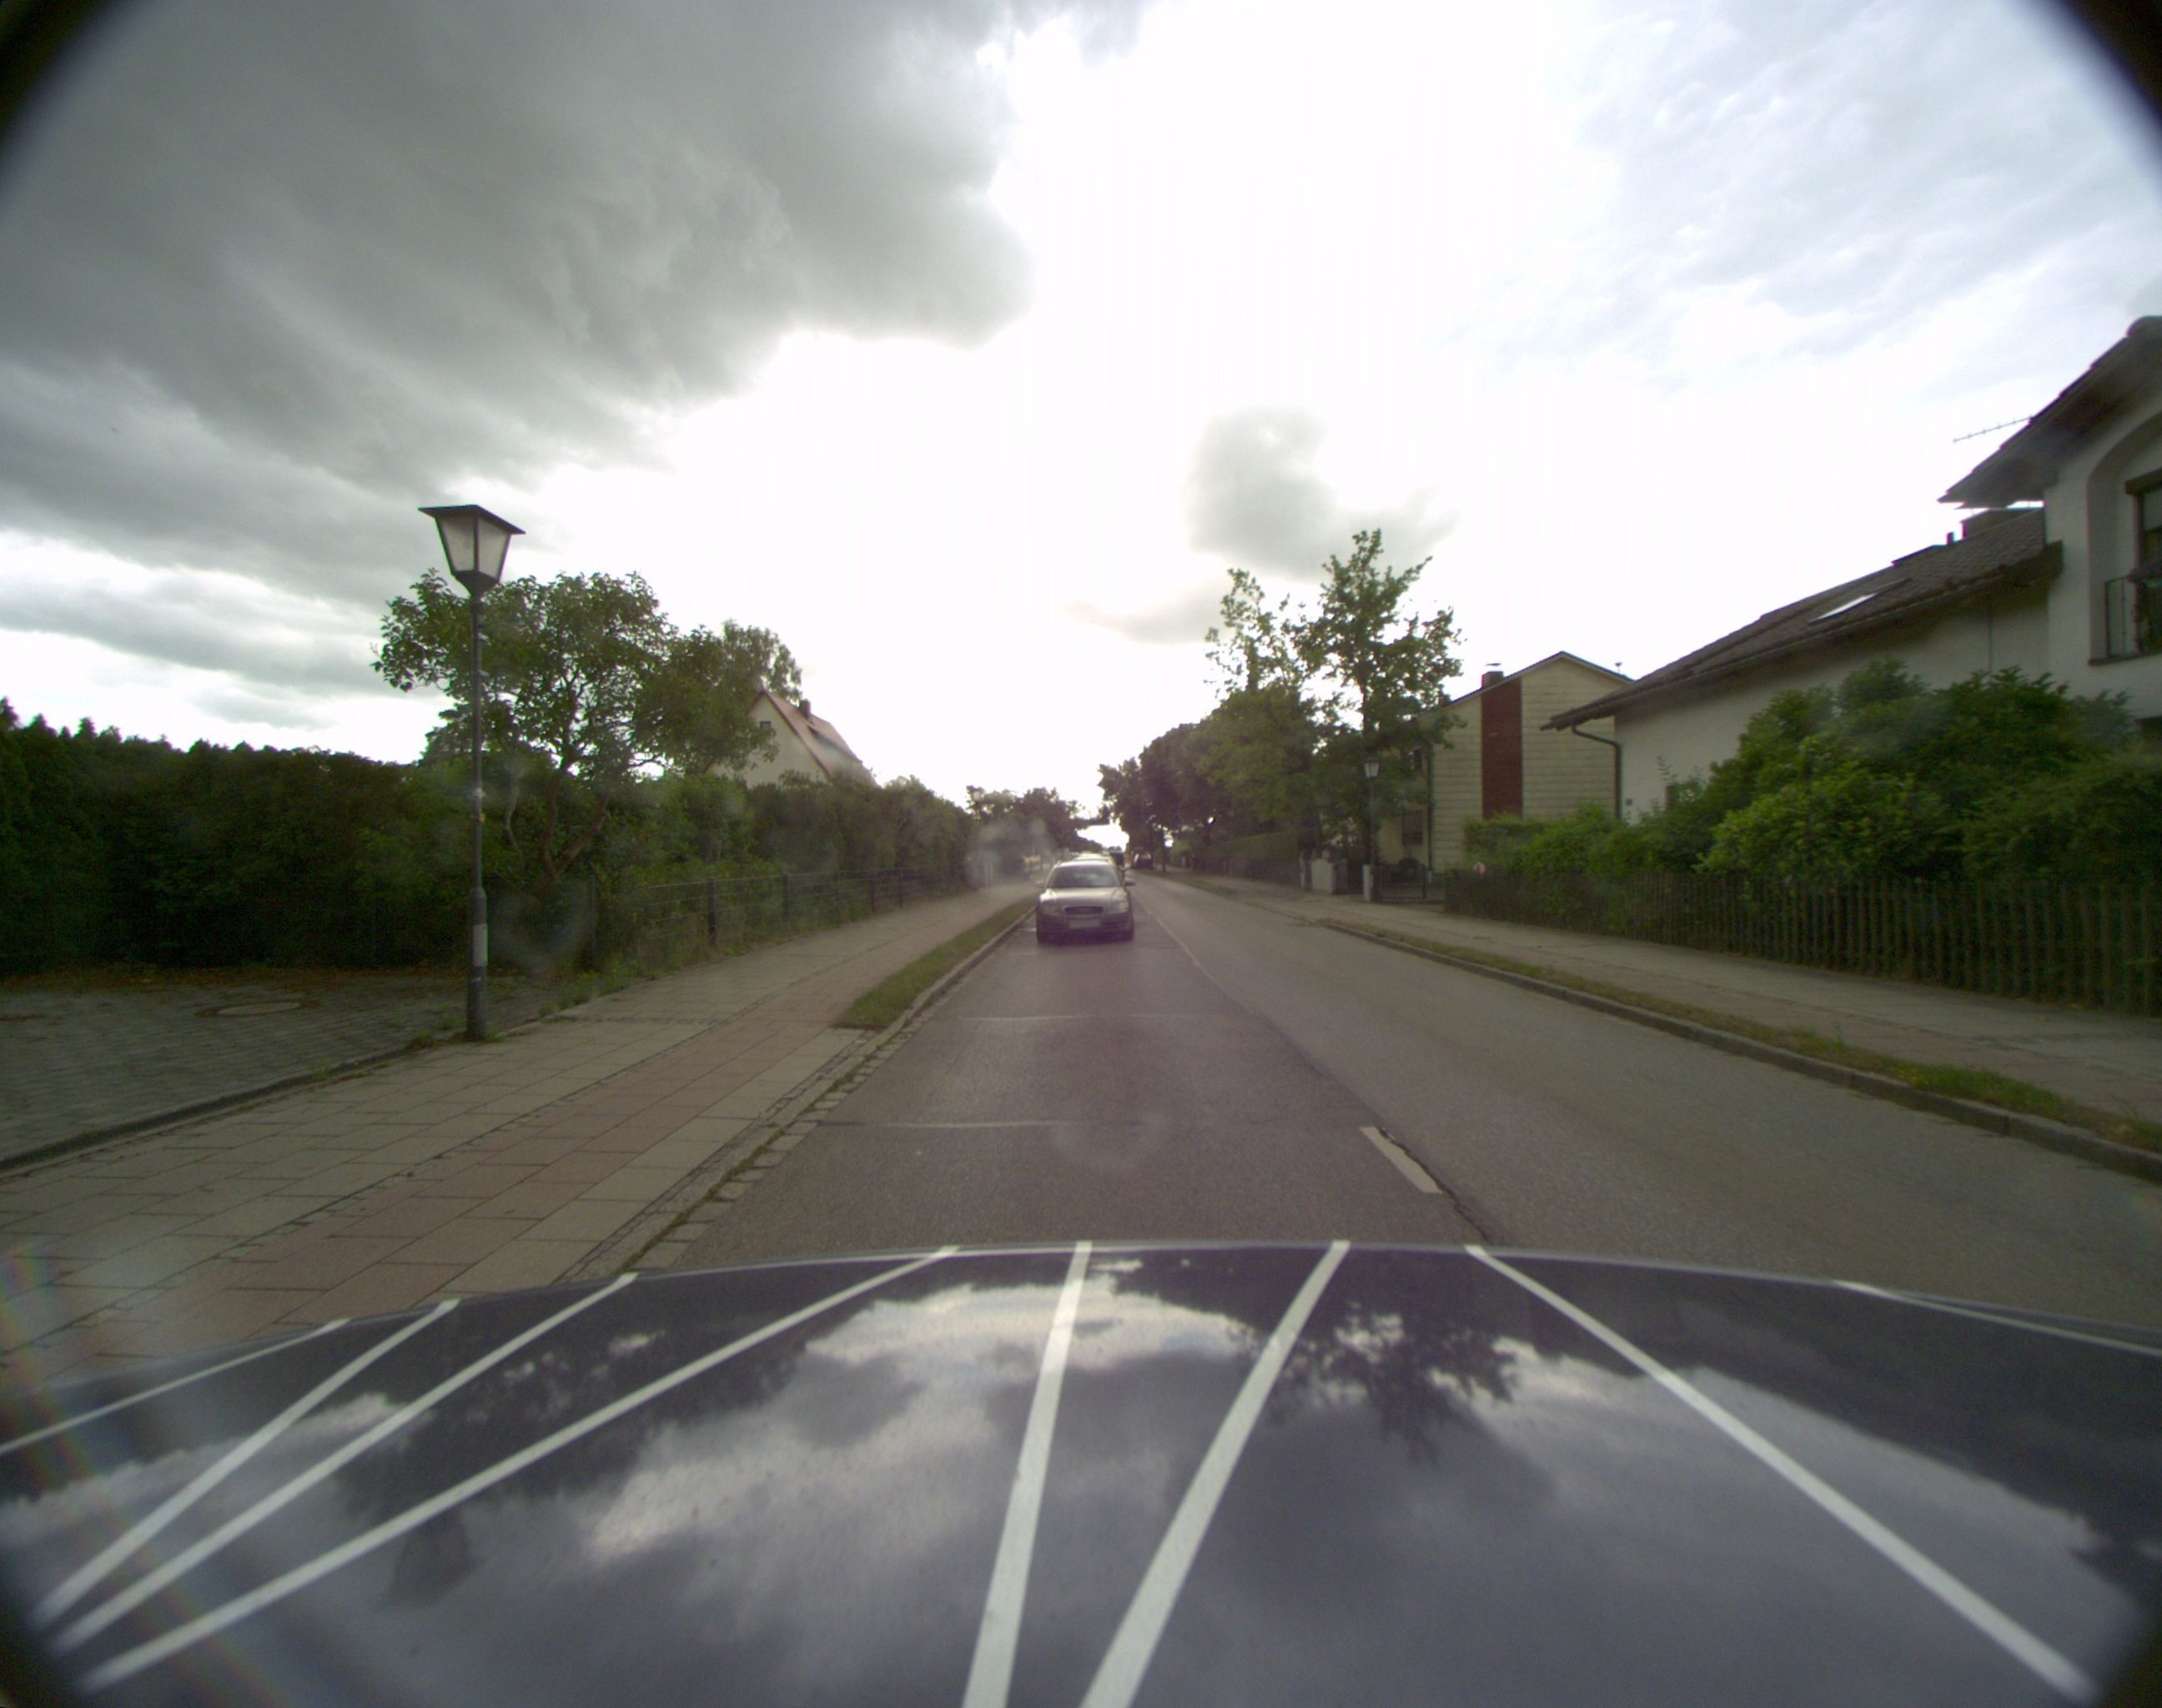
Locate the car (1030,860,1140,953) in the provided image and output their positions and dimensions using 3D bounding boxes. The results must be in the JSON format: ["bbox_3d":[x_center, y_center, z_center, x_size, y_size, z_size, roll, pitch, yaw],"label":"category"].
[{"bbox_3d":[0.090,0.900,14.856,1.809,1.476,4.270,-1,0,1],"label":"car"}]

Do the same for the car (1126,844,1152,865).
[{"bbox_3d":[6.388,0.042,84.201,2.246,2.258,4.469,-1,0,-2],"label":"car"}]

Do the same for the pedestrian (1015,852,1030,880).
[{"bbox_3d":[-3.326,0.674,42.965,0.792,1.592,0.671,-1,1,-2],"label":"pedestrian"}]

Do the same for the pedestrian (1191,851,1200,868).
[{"bbox_3d":[9.277,0.446,61.733,0.631,1.429,0.563,-1,1,1],"label":"pedestrian"}]

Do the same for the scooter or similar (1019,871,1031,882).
[{"bbox_3d":[-3.100,1.259,42.309,0.618,0.553,0.742,-1,0,-2],"label":"scooter or similar"}]

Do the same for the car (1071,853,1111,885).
[{"bbox_3d":[0.512,0.713,38.761,1.866,1.518,4.122,-1,0,1],"label":"car"}]

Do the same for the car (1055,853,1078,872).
[{"bbox_3d":[-1.199,0.659,63.676,1.866,1.518,4.122,-1,0,-1],"label":"car"}]

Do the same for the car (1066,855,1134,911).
[{"bbox_3d":[0.555,0.824,23.801,1.866,1.518,4.943,-1,0,1],"label":"car"}]

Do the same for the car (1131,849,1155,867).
[{"bbox_3d":[6.362,0.382,78.362,1.999,1.739,3.999,-1,0,-2],"label":"car"}]

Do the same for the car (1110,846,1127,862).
[{"bbox_3d":[4.600,-0.019,93.651,1.969,1.842,4.948,-1,0,2],"label":"car"}]

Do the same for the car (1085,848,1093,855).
[{"bbox_3d":[2.129,-0.700,203.821,1.998,2.002,4.000,-1,0,1],"label":"car"}]
